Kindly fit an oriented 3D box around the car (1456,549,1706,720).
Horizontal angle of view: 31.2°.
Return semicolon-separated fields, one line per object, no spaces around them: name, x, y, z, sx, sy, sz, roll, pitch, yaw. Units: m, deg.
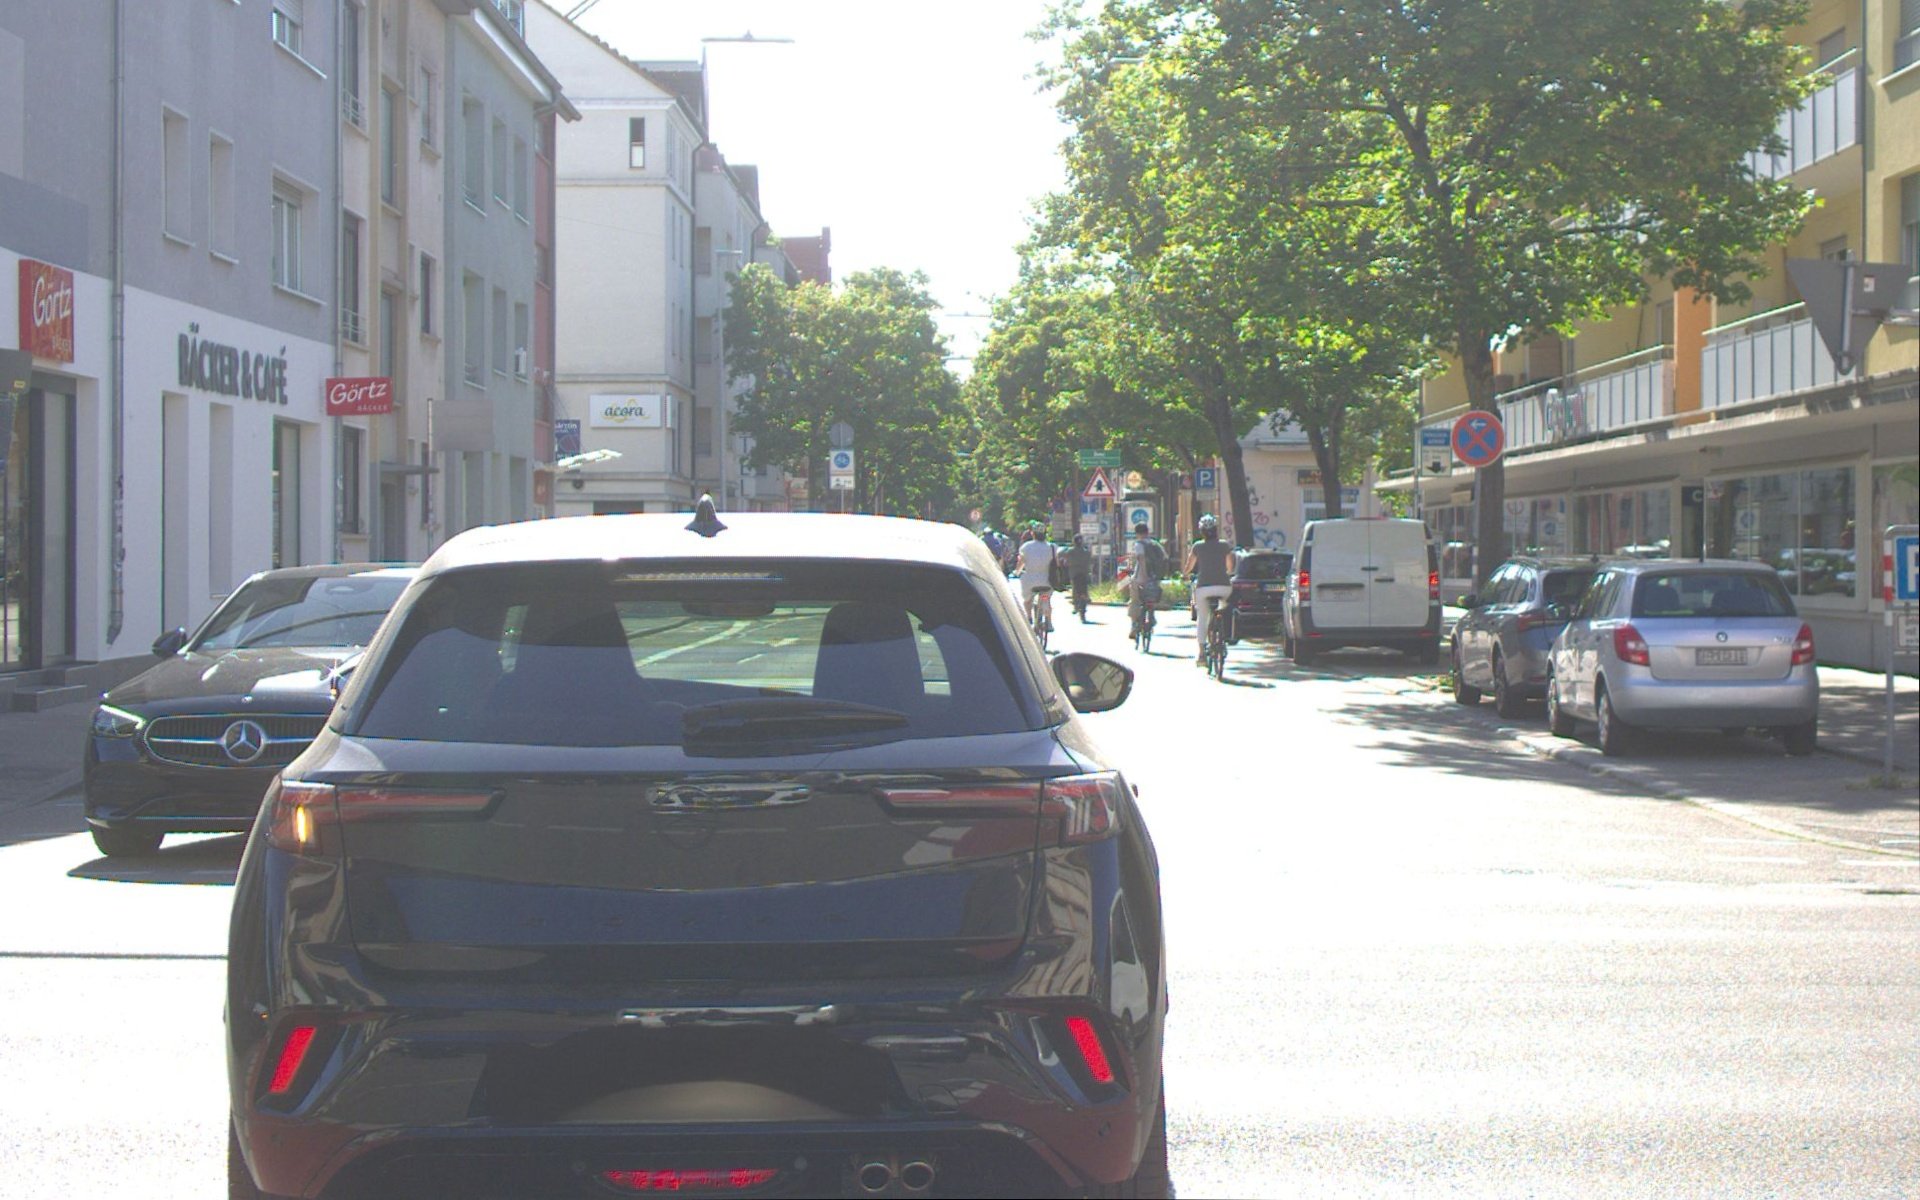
car;5.705;0.281;31.938;1.712;1.478;3.381;0;1;0

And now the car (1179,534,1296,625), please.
car;4.666;-0.365;58.187;1.712;1.478;3.381;0;1;0

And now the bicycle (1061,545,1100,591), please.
bicycle;2.278;-0.613;65.200;0.691;0.863;1.876;0;1;1

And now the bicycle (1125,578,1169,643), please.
bicycle;2.626;0.141;48.389;0.547;0.863;1.876;0;1;1

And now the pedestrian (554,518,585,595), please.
pedestrian;-7.434;-0.835;65.458;0.577;1.462;0.703;0;1;-5

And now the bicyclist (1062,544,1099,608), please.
bicyclist;2.279;-0.455;65.053;0.692;1.189;0.595;0;1;1

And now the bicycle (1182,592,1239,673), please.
bicycle;2.864;0.362;39.347;0.547;0.863;1.876;0;1;1

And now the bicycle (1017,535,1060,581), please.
bicycle;1.714;-0.926;75.456;0.856;0.941;2.307;2;1;0

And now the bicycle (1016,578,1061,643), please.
bicycle;1.103;0.142;48.525;0.620;0.863;1.876;0;1;1

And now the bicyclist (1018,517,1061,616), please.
bicyclist;1.120;-0.479;48.431;0.588;1.378;0.823;0;1;1

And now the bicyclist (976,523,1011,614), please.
bicyclist;0.618;-0.591;63.760;0.632;1.663;1.050;0;1;0

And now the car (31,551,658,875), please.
car;-3.005;0.490;17.822;1.805;1.408;4.424;-1;1;9

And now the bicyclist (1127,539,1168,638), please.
bicyclist;2.639;-0.163;48.466;0.547;1.378;0.823;0;1;1

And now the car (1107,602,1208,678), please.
car;3.689;0.728;64.704;1.712;1.310;3.381;0;1;0

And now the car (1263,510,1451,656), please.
car;5.233;-0.268;45.877;2.046;1.840;4.584;0;1;1

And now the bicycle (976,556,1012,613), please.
bicycle;0.634;-0.291;64.019;0.632;1.037;1.795;0;1;0

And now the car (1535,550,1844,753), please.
car;5.708;0.360;27.271;1.712;1.478;3.480;0;1;0

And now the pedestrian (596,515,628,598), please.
pedestrian;-6.598;-0.829;65.209;0.577;1.577;0.708;0;1;-5

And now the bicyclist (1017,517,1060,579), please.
bicyclist;1.725;-1.146;75.421;0.856;1.310;1.210;2;1;0

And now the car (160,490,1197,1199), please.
car;-0.493;0.568;7.870;1.762;1.553;4.000;0;1;0

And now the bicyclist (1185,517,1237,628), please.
bicyclist;2.872;-0.323;39.320;0.547;1.257;0.803;0;1;1
